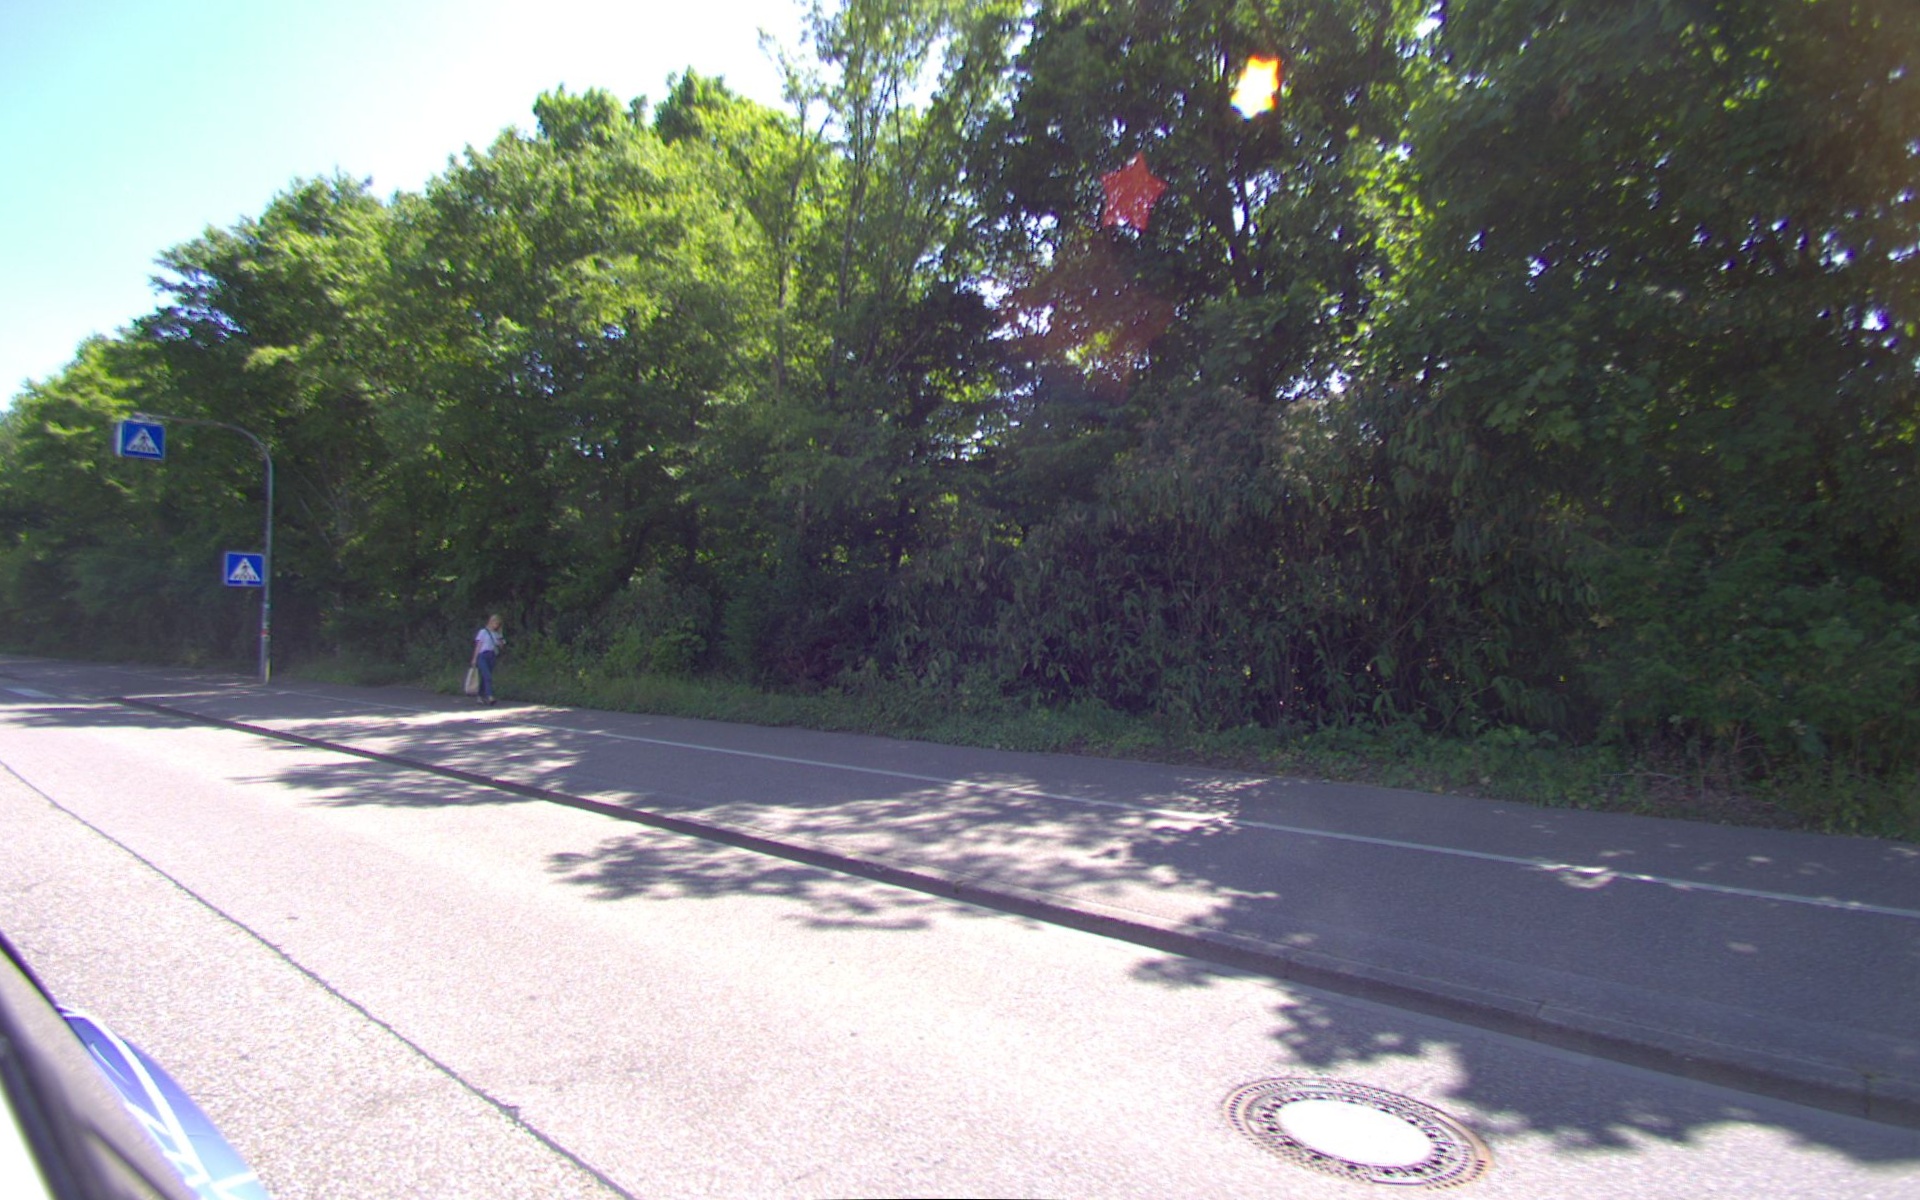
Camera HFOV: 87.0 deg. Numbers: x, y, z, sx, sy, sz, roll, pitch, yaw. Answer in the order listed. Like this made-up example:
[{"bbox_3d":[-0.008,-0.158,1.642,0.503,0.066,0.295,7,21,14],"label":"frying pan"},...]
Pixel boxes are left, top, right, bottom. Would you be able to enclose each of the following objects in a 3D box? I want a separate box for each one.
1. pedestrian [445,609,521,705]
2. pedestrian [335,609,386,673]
[{"bbox_3d":[-8.418,0.980,17.875,0.885,1.625,0.923,-1,-2,39],"label":"pedestrian"},{"bbox_3d":[-18.059,1.237,30.486,0.781,1.879,1.074,-2,-3,32],"label":"pedestrian"}]
